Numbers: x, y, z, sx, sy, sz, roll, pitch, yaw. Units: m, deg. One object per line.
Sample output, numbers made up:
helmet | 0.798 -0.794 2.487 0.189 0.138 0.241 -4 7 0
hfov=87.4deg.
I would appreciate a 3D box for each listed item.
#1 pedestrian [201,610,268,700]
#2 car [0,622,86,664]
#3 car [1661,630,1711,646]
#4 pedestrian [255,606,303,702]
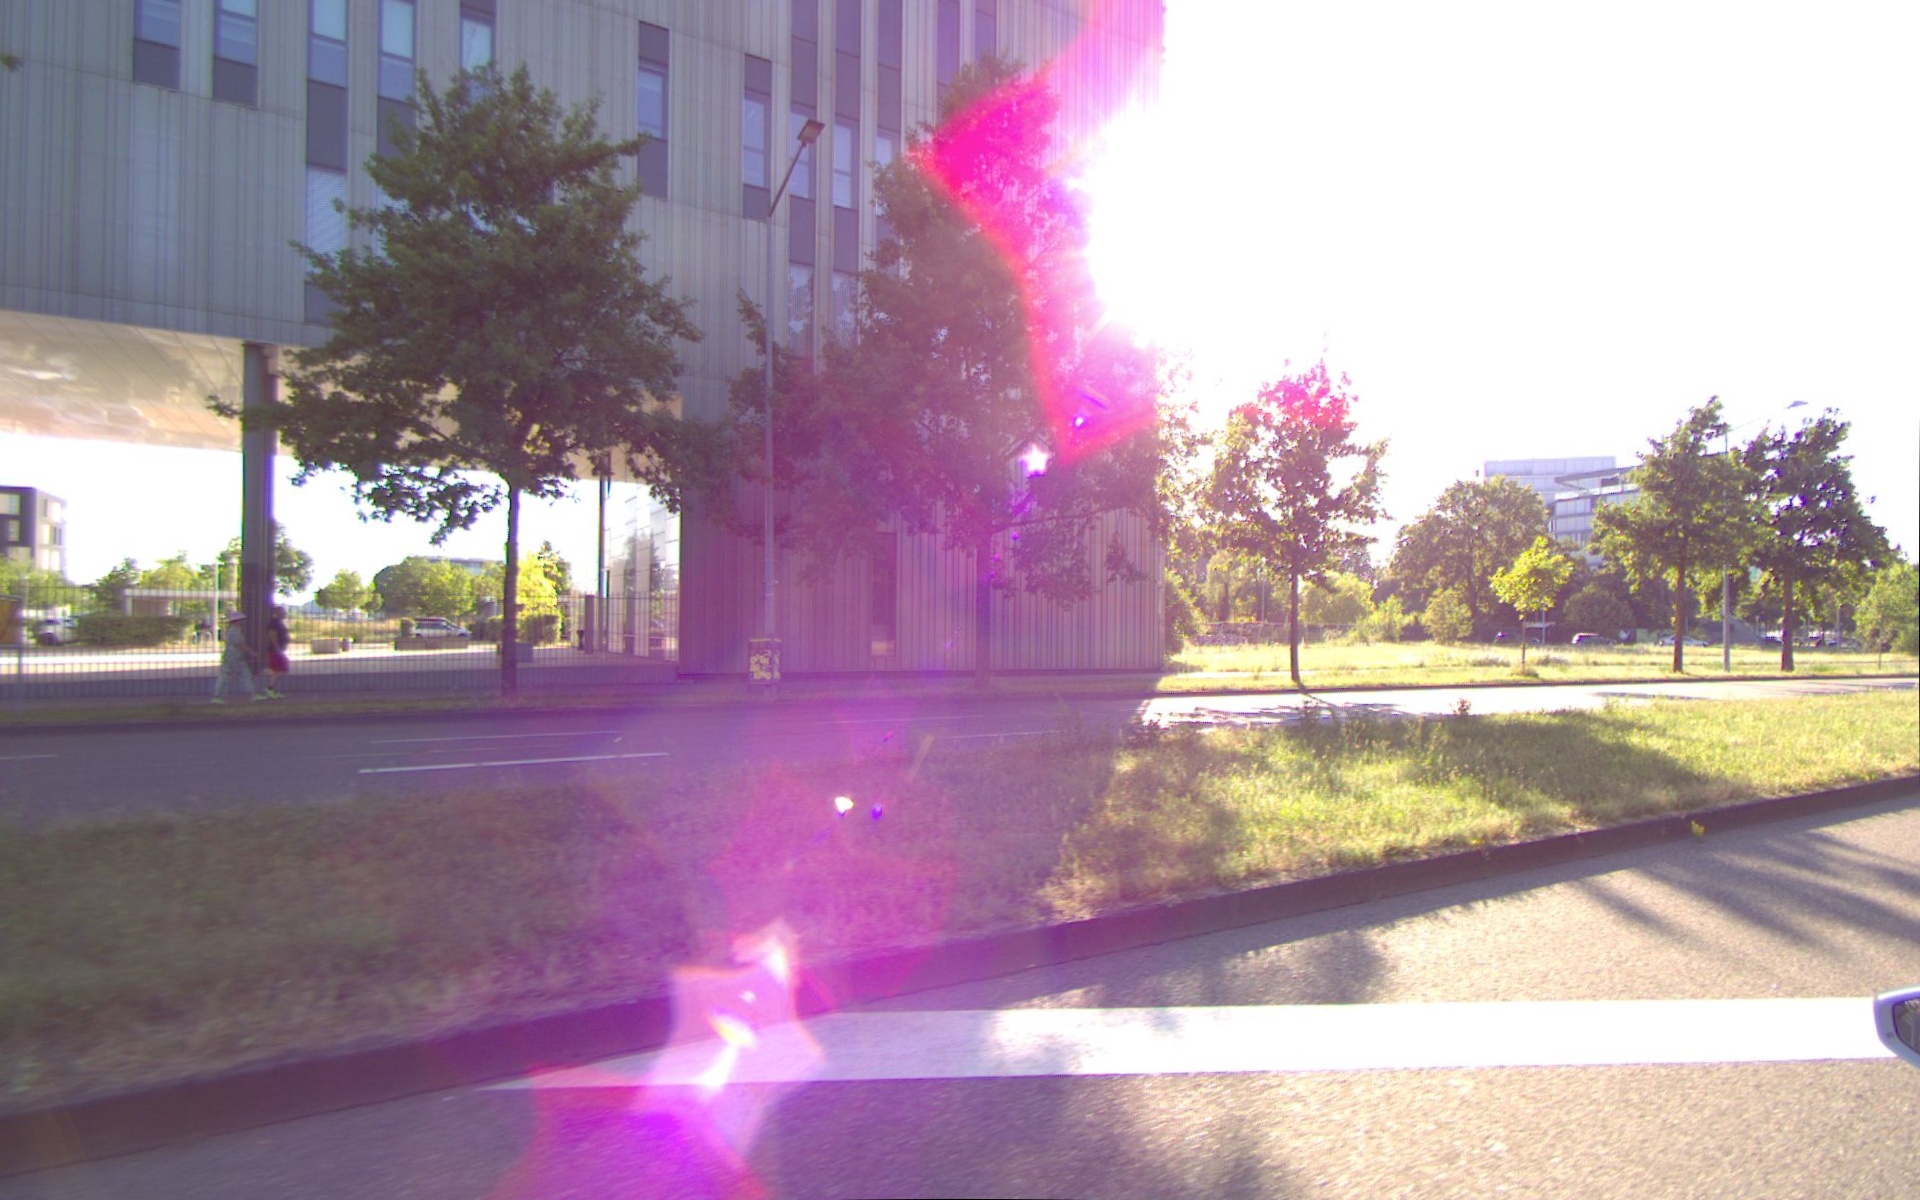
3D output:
pedestrian | -13.535 1.013 18.773 0.898 1.623 0.773 1 -1 -29
car | -44.539 2.019 47.366 4.732 1.899 1.895 1 -1 -31
car | 72.046 3.733 99.758 3.635 1.528 1.876 0 -1 18
pedestrian | -13.481 1.057 19.904 0.708 1.866 0.630 1 -1 -29
